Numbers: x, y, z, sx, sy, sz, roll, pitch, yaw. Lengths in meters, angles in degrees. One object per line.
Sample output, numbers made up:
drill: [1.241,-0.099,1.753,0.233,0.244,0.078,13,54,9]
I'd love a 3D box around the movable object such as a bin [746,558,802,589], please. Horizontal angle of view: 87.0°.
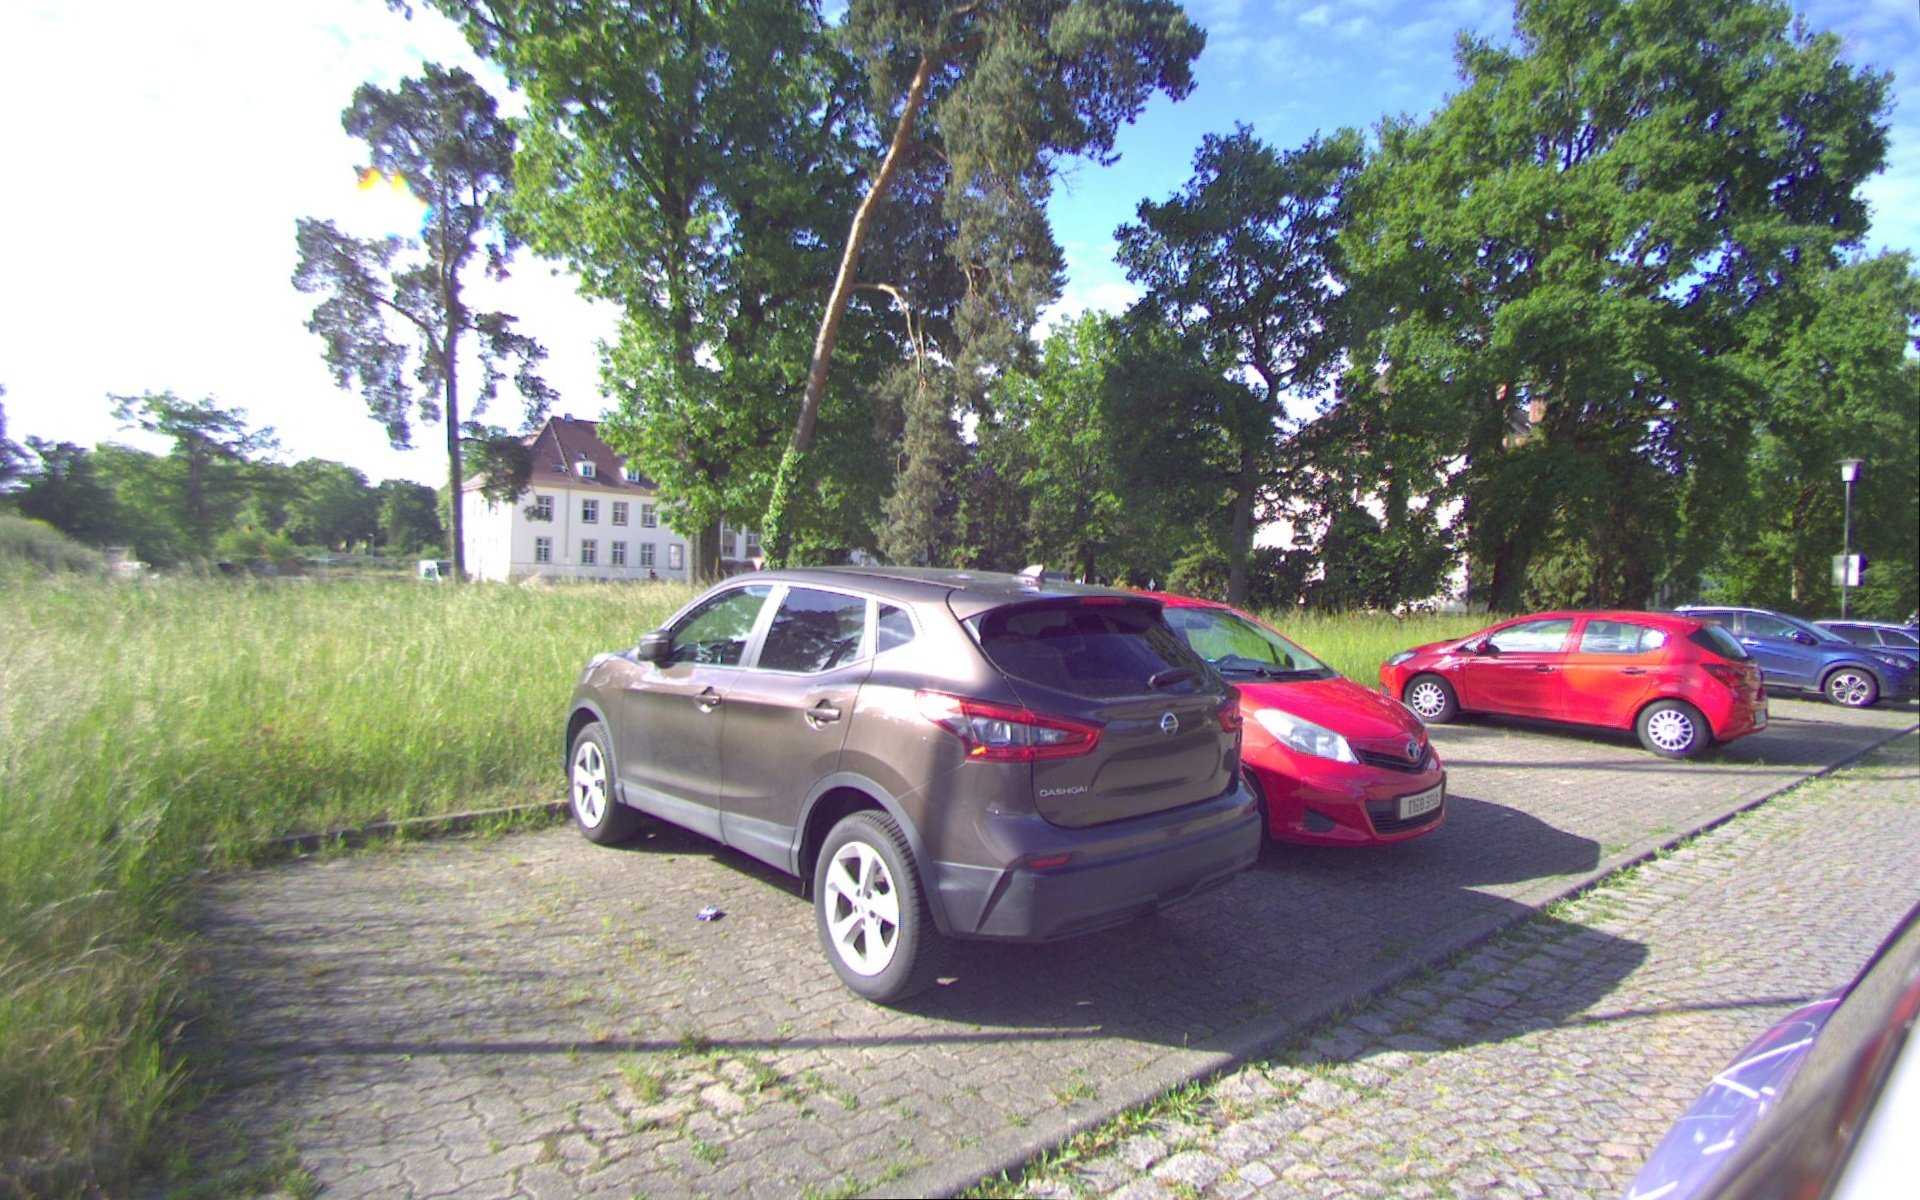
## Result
movable object such as a bin: [-18.682,-2.687,101.628,4.974,2.937,2.182,1,1,-33]

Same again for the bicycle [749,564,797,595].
bicycle: [-12.417,-1.386,67.377,3.077,2.038,0.952,-1,2,-42]

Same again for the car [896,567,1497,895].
car: [1.370,0.619,7.084,1.672,1.557,3.835,1,2,-39]

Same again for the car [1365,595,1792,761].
car: [7.026,0.762,11.854,1.513,1.514,3.995,1,1,-40]

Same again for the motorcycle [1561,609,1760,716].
motorcycle: [10.289,0.868,14.957,0.863,1.370,2.236,1,1,-38]

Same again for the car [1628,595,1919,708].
car: [14.821,0.835,18.284,1.622,1.618,4.273,1,2,-40]

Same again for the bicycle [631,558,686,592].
bicycle: [-18.421,-1.549,61.895,3.077,2.038,0.952,-1,2,-42]

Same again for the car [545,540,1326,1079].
car: [-0.503,0.564,5.194,1.755,1.631,4.115,1,1,-41]

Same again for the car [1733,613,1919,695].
car: [18.629,1.079,21.001,1.715,1.484,3.809,1,1,-39]
